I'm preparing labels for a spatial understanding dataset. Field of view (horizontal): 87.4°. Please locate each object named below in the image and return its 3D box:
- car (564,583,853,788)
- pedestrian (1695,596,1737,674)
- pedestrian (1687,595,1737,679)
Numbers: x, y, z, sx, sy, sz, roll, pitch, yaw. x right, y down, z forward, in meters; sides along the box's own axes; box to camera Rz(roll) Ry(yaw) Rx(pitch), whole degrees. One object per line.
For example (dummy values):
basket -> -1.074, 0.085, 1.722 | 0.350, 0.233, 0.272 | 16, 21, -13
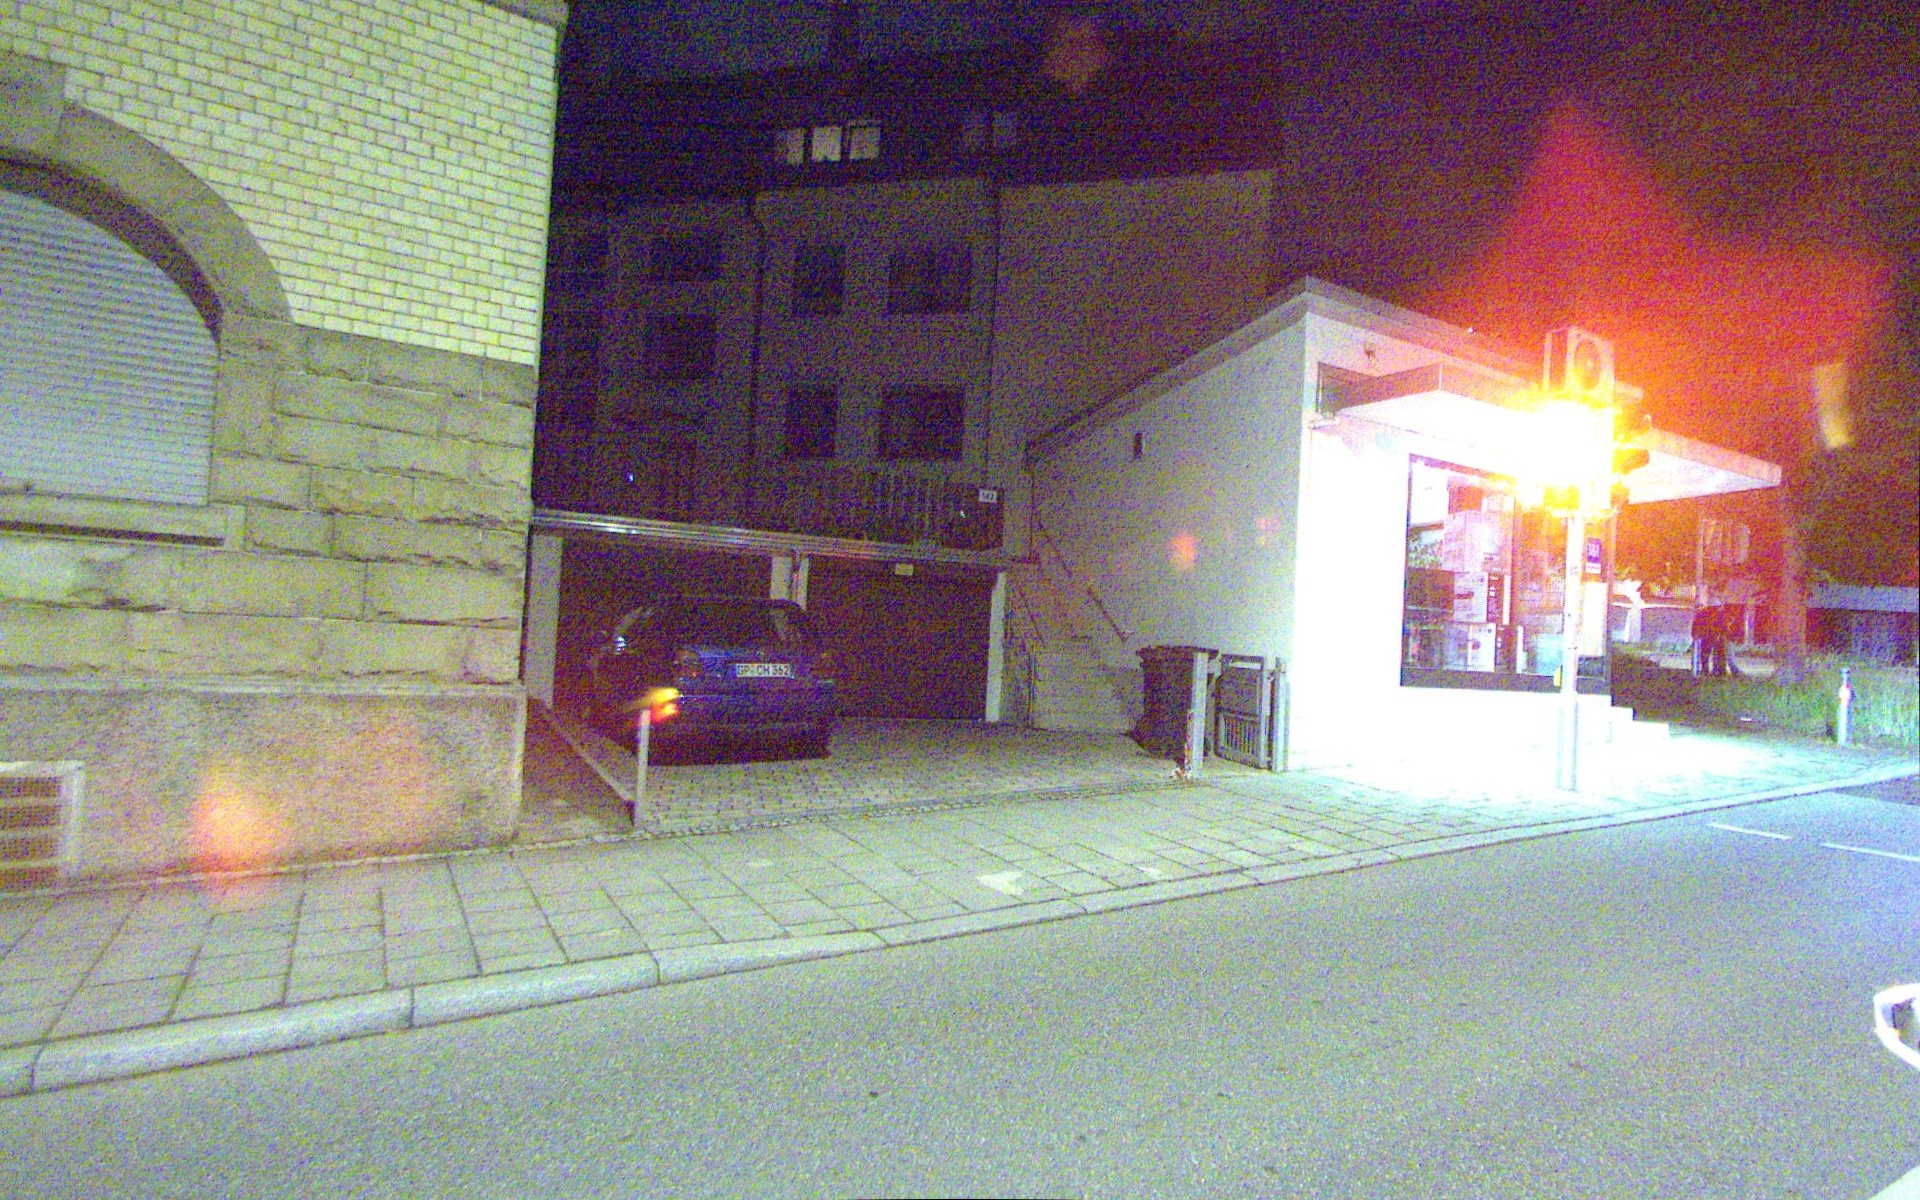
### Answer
car -> -2.558, 0.644, 9.552 | 1.700, 1.460, 3.631 | 2, 1, -30
pedestrian -> 17.355, 0.805, 23.063 | 0.537, 1.754, 0.567 | 2, 0, -30
pedestrian -> 16.516, 0.812, 22.064 | 0.729, 1.801, 0.567 | 2, 2, -30
